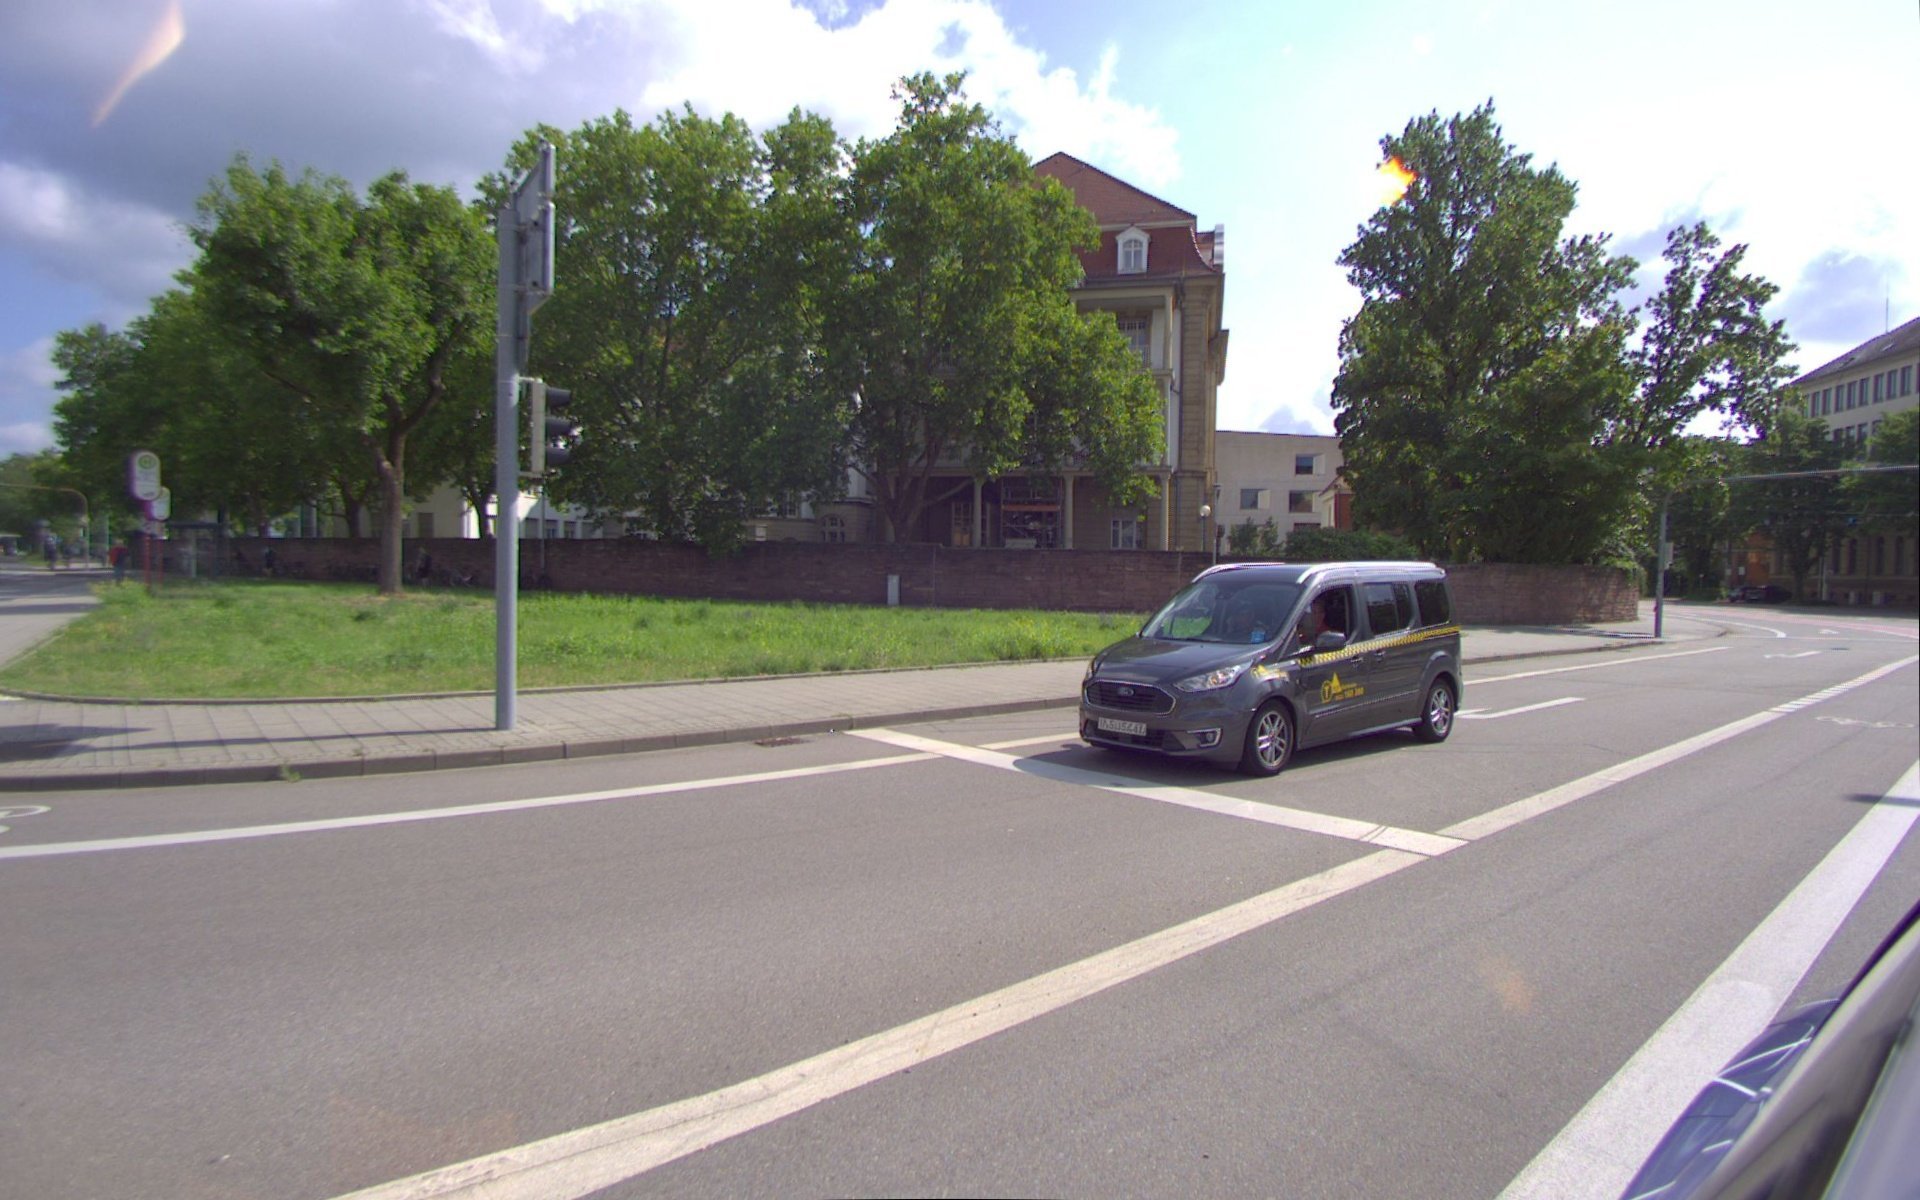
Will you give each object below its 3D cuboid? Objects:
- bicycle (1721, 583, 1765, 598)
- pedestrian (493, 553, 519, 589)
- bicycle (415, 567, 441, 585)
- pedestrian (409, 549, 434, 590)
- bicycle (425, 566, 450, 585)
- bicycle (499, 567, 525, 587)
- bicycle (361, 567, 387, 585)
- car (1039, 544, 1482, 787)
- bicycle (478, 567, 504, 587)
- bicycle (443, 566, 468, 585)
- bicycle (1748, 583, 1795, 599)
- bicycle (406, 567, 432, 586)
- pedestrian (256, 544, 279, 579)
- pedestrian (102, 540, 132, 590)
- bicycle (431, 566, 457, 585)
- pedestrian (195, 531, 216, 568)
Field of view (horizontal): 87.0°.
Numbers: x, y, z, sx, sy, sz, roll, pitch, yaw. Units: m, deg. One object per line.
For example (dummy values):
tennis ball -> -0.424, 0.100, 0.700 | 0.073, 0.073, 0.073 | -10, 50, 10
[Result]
bicycle -> 68.674, -0.835, 88.796 | 1.053, 1.221, 2.897 | -4, 4, -33
pedestrian -> -19.529, -1.259, 43.526 | 0.717, 1.552, 0.720 | 2, 2, 26
bicycle -> -24.787, -1.121, 47.165 | 0.478, 0.859, 0.964 | 2, 2, 27
pedestrian -> -23.473, -1.316, 44.094 | 0.736, 1.744, 0.657 | 2, 2, 30
bicycle -> -24.187, -1.124, 46.862 | 0.478, 0.859, 0.964 | 2, 2, 27
bicycle -> -19.652, -1.027, 44.442 | 0.478, 0.859, 0.964 | 2, 2, 27
bicycle -> -28.403, -1.178, 49.074 | 0.478, 0.859, 0.964 | 2, 2, 27
car -> 3.046, 0.457, 9.710 | 4.588, 1.807, 1.853 | 0, 1, -40
bicycle -> -20.845, -1.024, 44.977 | 0.478, 0.859, 0.964 | 2, 2, 27
bicycle -> -23.051, -1.126, 46.249 | 0.478, 0.859, 0.964 | 2, 2, 27
bicycle -> 68.605, -0.794, 85.590 | 1.030, 1.221, 2.897 | -4, 4, -33
bicycle -> -25.366, -1.118, 47.452 | 0.478, 0.859, 0.964 | 2, 2, 27
pedestrian -> -35.843, -2.005, 52.355 | 0.871, 1.801, 0.770 | -1, 3, -41
pedestrian -> -30.616, -1.286, 36.742 | 0.737, 1.801, 0.963 | -2, 3, -44
bicycle -> -23.717, -1.125, 46.550 | 0.478, 0.859, 0.964 | 2, 2, 27
pedestrian -> -37.044, -2.491, 49.668 | 0.736, 1.801, 0.770 | -1, 3, -41
